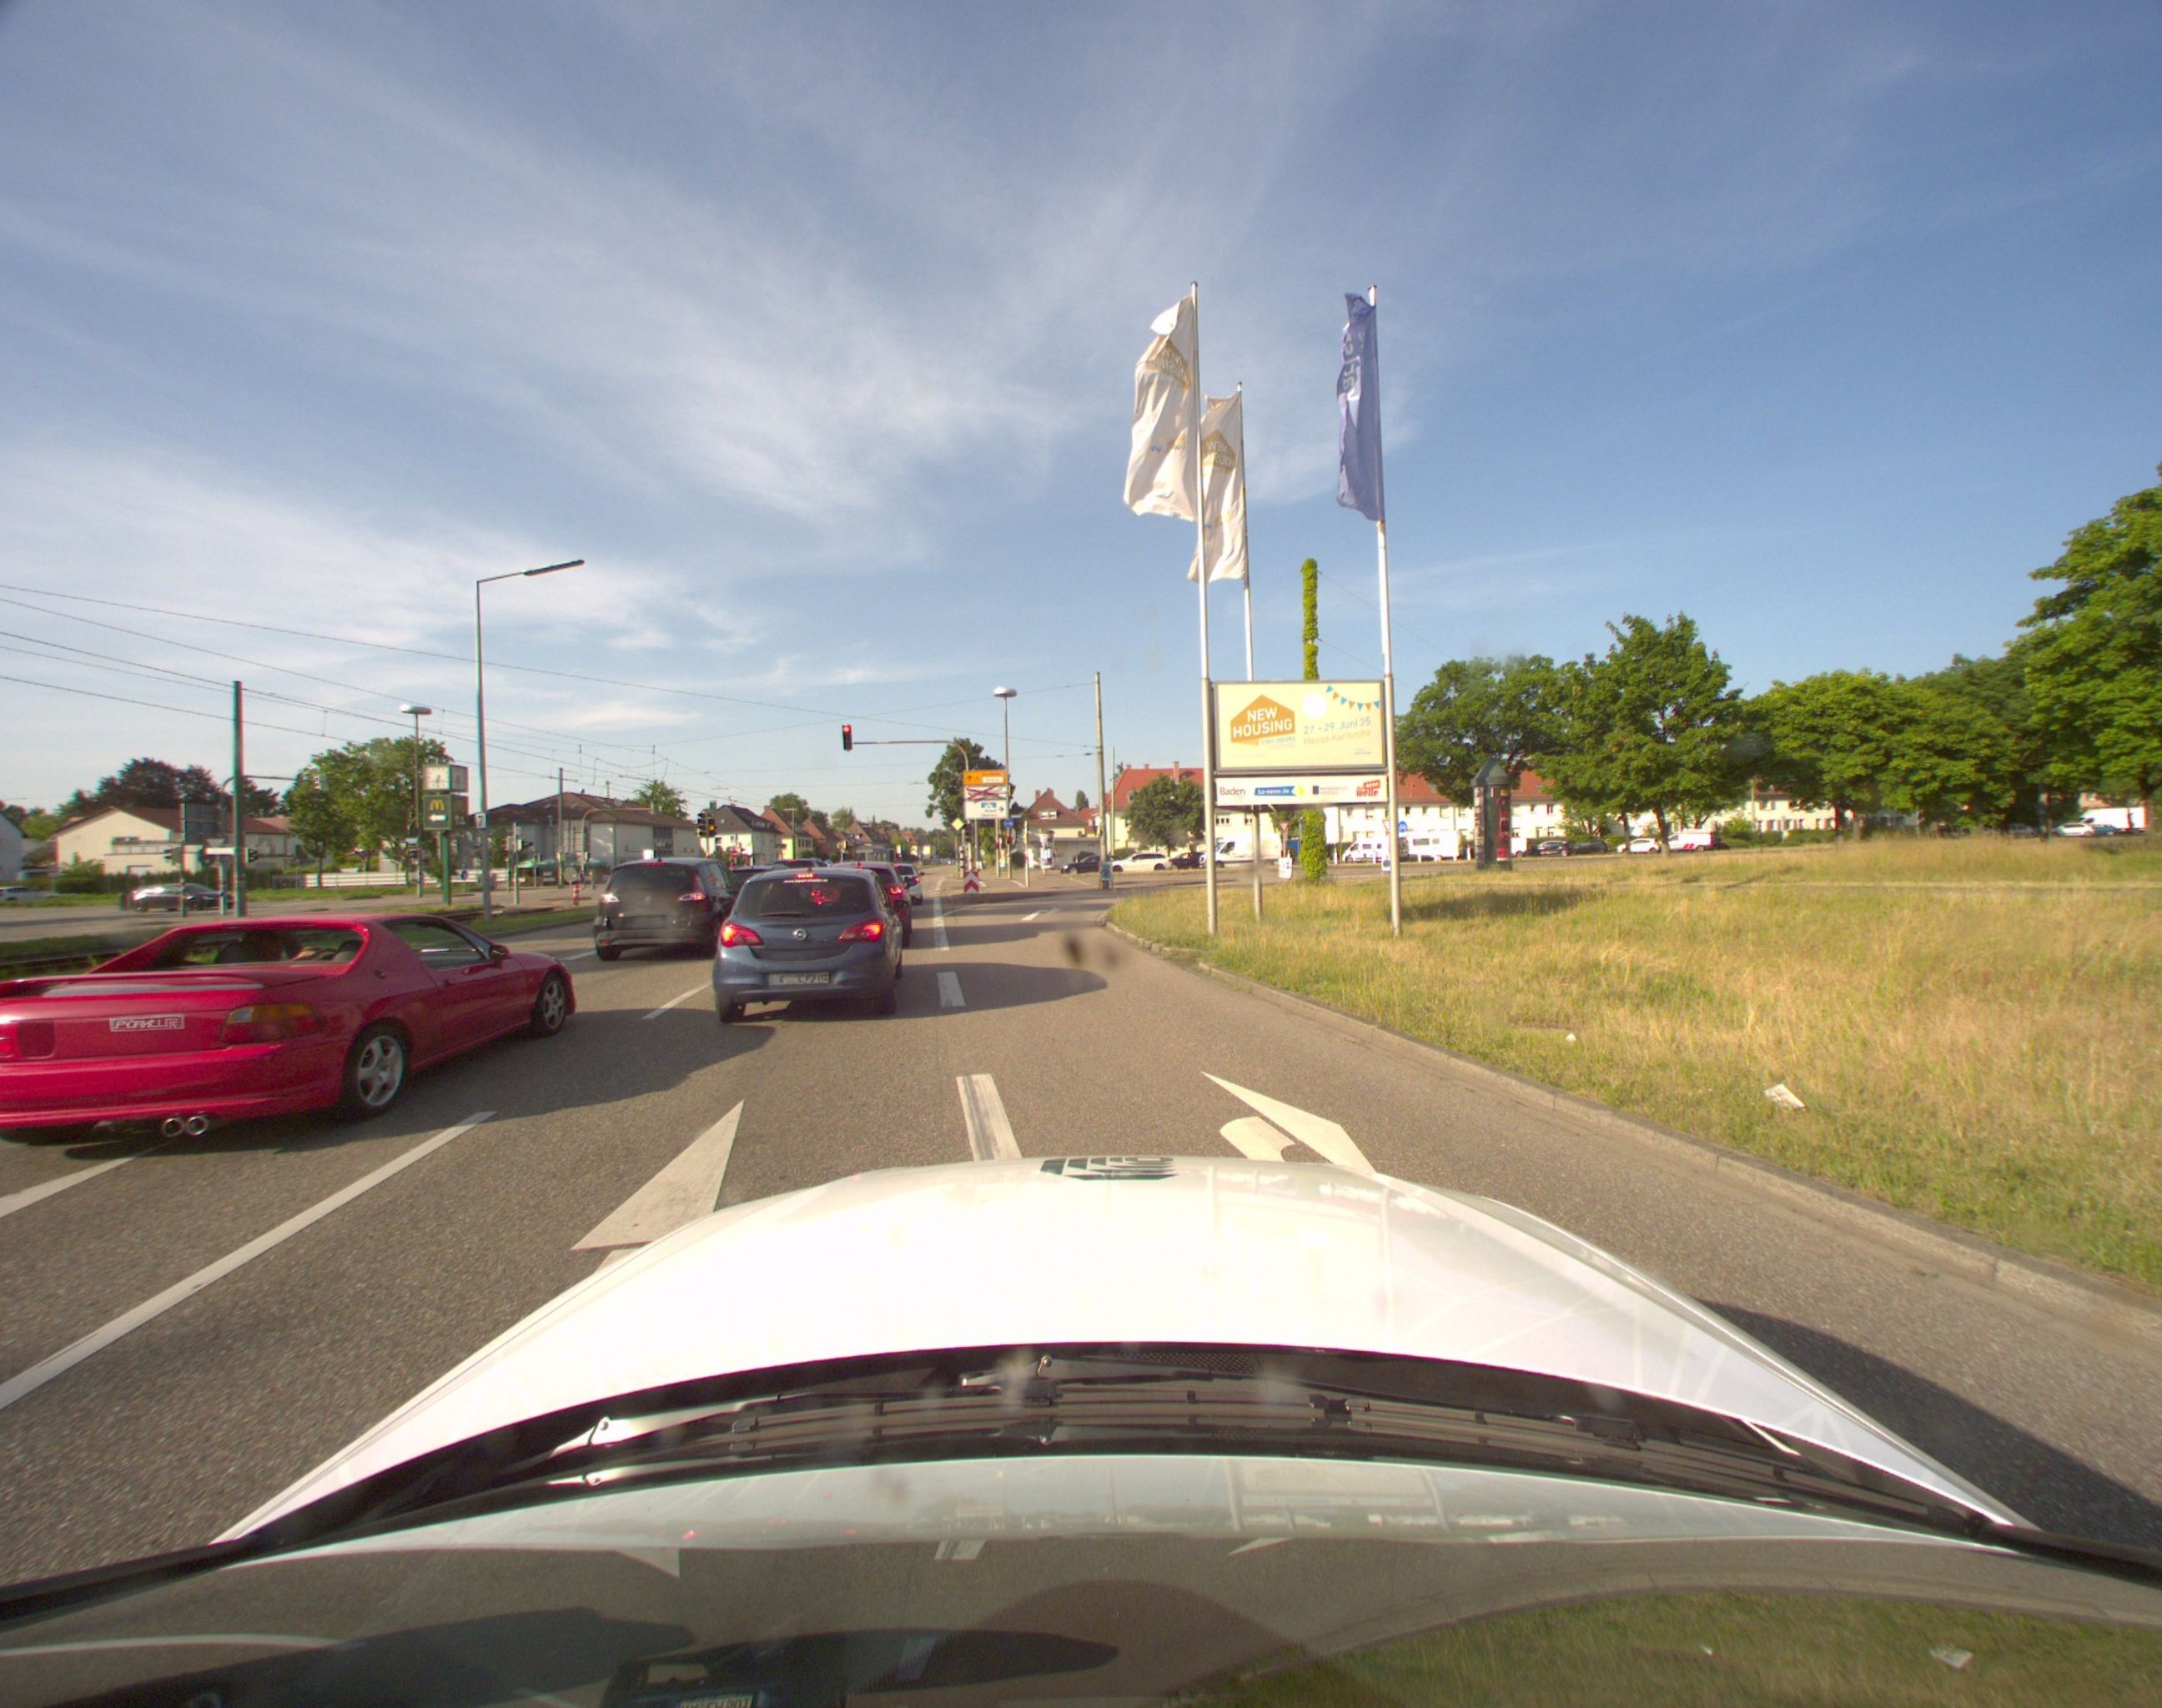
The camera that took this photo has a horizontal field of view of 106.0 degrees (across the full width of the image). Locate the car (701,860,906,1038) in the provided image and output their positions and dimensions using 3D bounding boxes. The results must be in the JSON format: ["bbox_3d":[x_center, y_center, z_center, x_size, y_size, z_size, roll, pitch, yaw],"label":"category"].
[{"bbox_3d":[-2.972,0.859,9.474,1.744,1.505,4.203,-2,0,-13],"label":"car"}]

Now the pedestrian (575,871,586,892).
[{"bbox_3d":[-39.637,2.181,64.473,0.512,1.599,0.537,-2,0,-12],"label":"pedestrian"}]

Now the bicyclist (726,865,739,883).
[{"bbox_3d":[-28.229,1.624,65.992,0.886,1.431,1.129,0,-1,-18],"label":"bicyclist"}]

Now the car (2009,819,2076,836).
[{"bbox_3d":[108.731,-2.967,92.149,4.482,1.723,2.013,-2,0,37],"label":"car"}]

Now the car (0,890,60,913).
[{"bbox_3d":[-82.878,3.670,63.214,1.989,1.684,4.215,-1,-1,-3],"label":"car"}]

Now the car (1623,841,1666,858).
[{"bbox_3d":[56.535,-0.436,81.768,3.388,1.514,1.908,-2,0,39],"label":"car"}]

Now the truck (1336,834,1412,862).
[{"bbox_3d":[27.340,-0.524,76.266,2.291,2.524,6.279,-2,0,-44],"label":"truck"}]

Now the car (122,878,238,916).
[{"bbox_3d":[-47.142,2.216,42.692,3.984,1.793,1.515,-2,0,-8],"label":"car"}]

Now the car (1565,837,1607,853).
[{"bbox_3d":[51.303,-0.934,82.694,3.388,1.514,1.908,-2,0,39],"label":"car"}]

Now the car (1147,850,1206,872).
[{"bbox_3d":[7.096,0.494,60.669,3.986,1.453,1.710,-2,0,-9],"label":"car"}]

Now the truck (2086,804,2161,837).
[{"bbox_3d":[120.887,-3.817,94.163,5.434,3.465,2.013,-2,0,30],"label":"truck"}]

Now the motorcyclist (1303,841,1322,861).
[{"bbox_3d":[16.469,-0.202,57.939,1.066,1.352,0.677,-2,0,-10],"label":"motorcyclist"}]

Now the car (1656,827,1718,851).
[{"bbox_3d":[62.043,-1.528,83.460,4.914,2.232,2.013,-2,0,35],"label":"car"}]

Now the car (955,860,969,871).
[{"bbox_3d":[-14.876,1.433,101.963,1.674,1.398,3.988,0,-1,-9],"label":"car"}]

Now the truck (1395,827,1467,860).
[{"bbox_3d":[33.387,-0.989,77.773,6.000,2.854,1.908,-2,-1,34],"label":"truck"}]

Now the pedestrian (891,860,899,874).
[{"bbox_3d":[-19.739,1.356,86.409,0.752,1.499,0.825,0,-1,-7],"label":"pedestrian"}]

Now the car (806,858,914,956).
[{"bbox_3d":[-4.104,0.898,15.655,1.708,1.552,3.961,-2,0,-12],"label":"car"}]

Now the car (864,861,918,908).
[{"bbox_3d":[-6.602,1.010,28.647,1.657,1.443,3.998,-2,0,-11],"label":"car"}]

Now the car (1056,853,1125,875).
[{"bbox_3d":[0.689,0.741,59.717,4.822,1.411,1.710,-2,0,-9],"label":"car"}]

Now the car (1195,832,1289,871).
[{"bbox_3d":[11.417,-0.191,57.858,6.207,2.583,1.994,-2,0,-10],"label":"car"}]

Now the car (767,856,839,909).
[{"bbox_3d":[-9.637,0.921,28.522,1.506,1.651,4.729,-2,0,-9],"label":"car"}]

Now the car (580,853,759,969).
[{"bbox_3d":[-6.957,0.853,14.240,1.765,1.670,4.067,-1,0,-12],"label":"car"}]

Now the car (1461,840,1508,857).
[{"bbox_3d":[39.345,-0.509,79.412,3.859,1.456,1.908,-2,0,32],"label":"car"}]

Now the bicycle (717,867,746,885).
[{"bbox_3d":[-28.274,1.779,65.982,2.080,1.348,1.101,0,-1,-19],"label":"bicycle"}]

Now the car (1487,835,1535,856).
[{"bbox_3d":[42.390,-0.828,80.315,3.858,1.920,1.908,-2,0,35],"label":"car"}]

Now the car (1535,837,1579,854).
[{"bbox_3d":[46.683,-0.812,79.888,3.454,1.514,1.908,-2,0,39],"label":"car"}]

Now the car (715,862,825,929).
[{"bbox_3d":[-7.982,0.992,21.336,1.699,1.508,4.540,-1,0,-8],"label":"car"}]

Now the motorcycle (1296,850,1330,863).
[{"bbox_3d":[16.484,0.164,57.942,2.271,0.866,0.688,-2,0,-11],"label":"motorcycle"}]

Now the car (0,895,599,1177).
[{"bbox_3d":[-5.264,1.002,6.000,1.732,1.206,3.832,0,0,-11],"label":"car"}]

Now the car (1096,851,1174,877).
[{"bbox_3d":[3.720,0.676,56.476,5.093,1.563,1.834,-2,0,-9],"label":"car"}]
